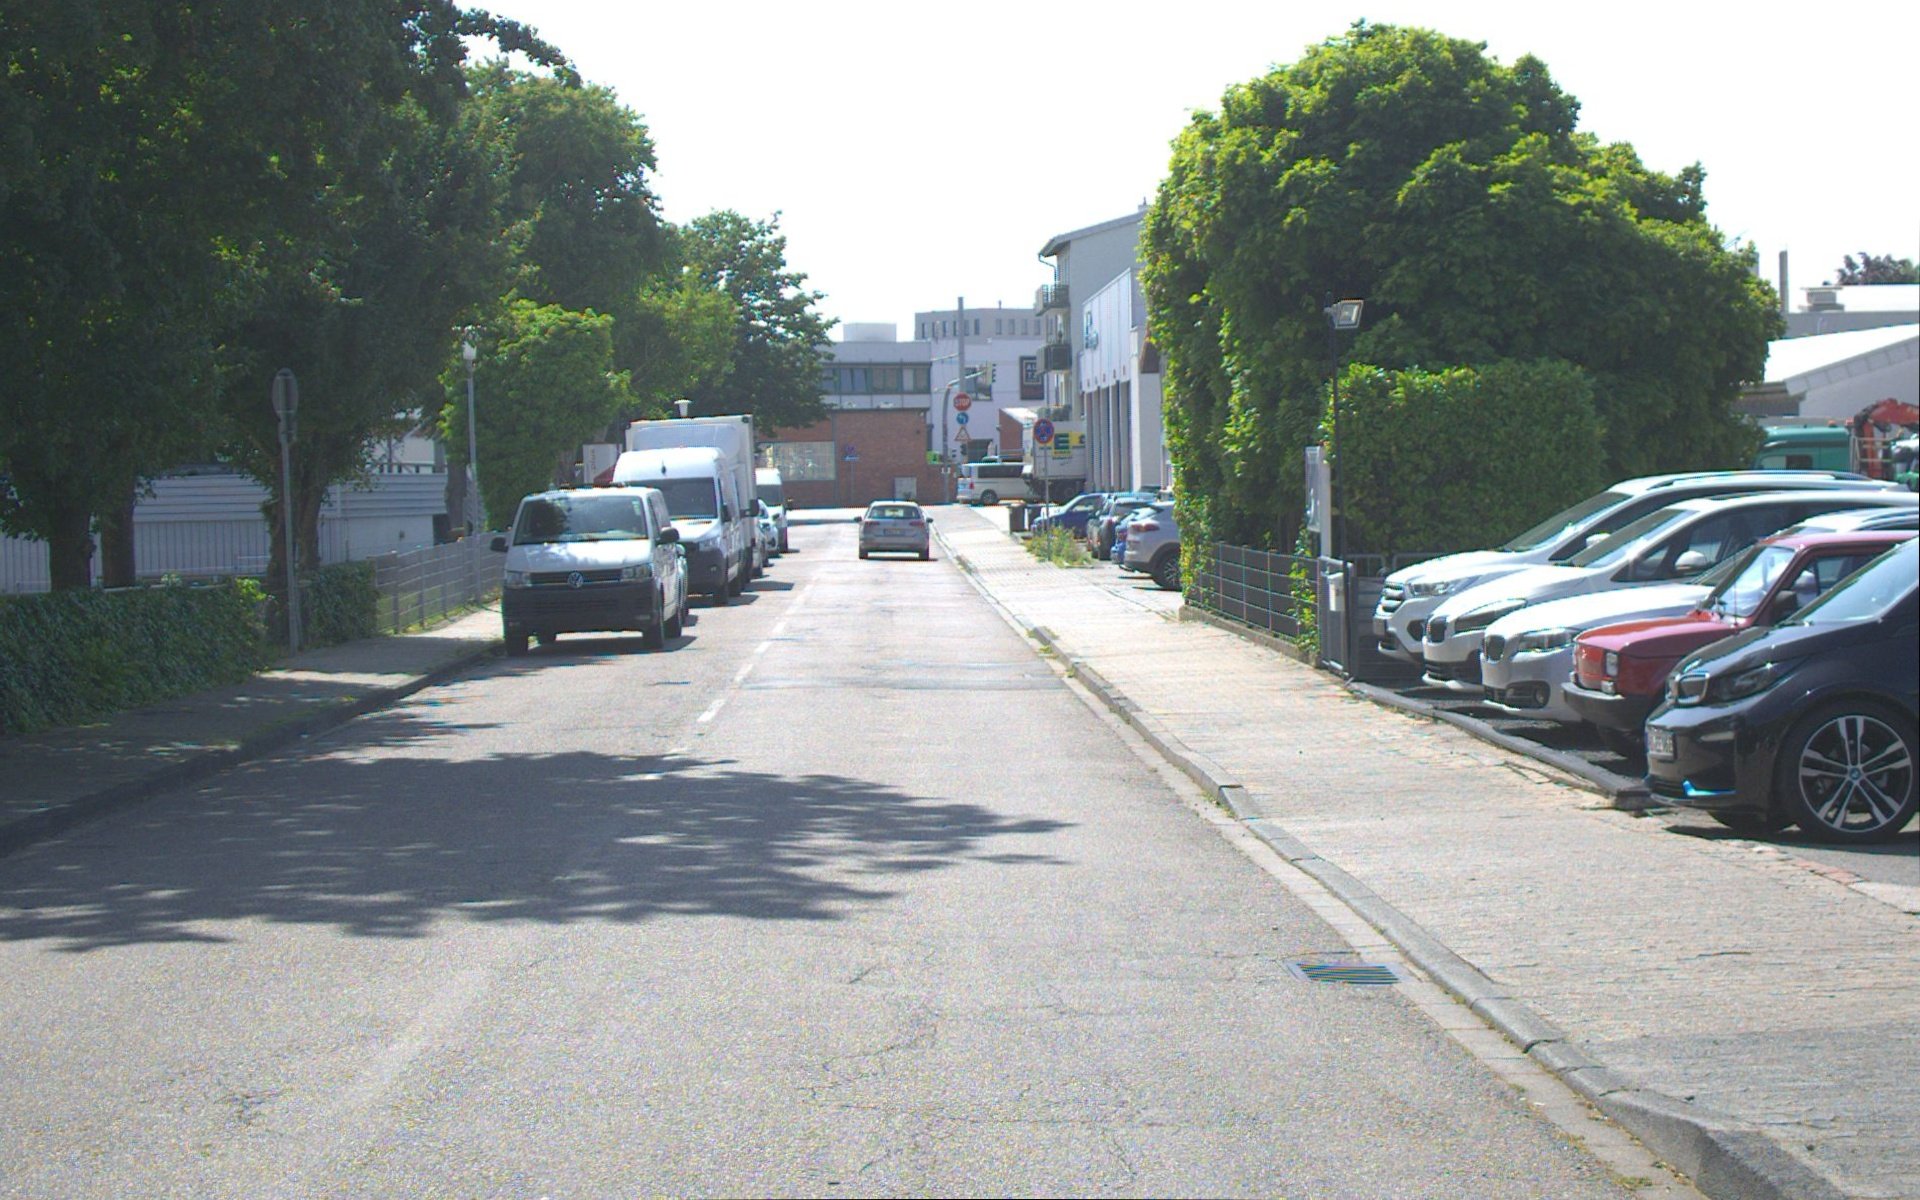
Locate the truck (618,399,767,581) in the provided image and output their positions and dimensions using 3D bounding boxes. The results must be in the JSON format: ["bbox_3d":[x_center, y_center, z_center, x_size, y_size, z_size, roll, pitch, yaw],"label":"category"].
[{"bbox_3d":[-5.309,-2.170,68.500,2.685,3.354,7.131,-2,2,-4],"label":"truck"}]

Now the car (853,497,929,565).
[{"bbox_3d":[-1.794,-1.780,88.523,1.890,1.679,3.958,-1,1,-2],"label":"car"}]

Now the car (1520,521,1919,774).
[{"bbox_3d":[5.197,0.224,20.003,3.549,1.330,1.559,-2,1,-2],"label":"car"}]

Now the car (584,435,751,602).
[{"bbox_3d":[-4.902,-1.410,58.626,2.168,2.587,6.921,-3,2,0],"label":"car"}]

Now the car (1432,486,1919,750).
[{"bbox_3d":[5.514,0.046,22.495,4.402,1.492,1.897,-3,1,-6],"label":"car"}]

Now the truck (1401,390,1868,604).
[{"bbox_3d":[11.700,-1.797,60.089,7.517,3.411,2.527,2,2,-1],"label":"truck"}]

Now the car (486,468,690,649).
[{"bbox_3d":[-4.542,-0.557,42.655,1.971,2.006,5.057,-3,2,-1],"label":"car"}]

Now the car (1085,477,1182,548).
[{"bbox_3d":[4.119,-2.128,82.231,1.858,1.562,4.952,-2,2,-2],"label":"car"}]

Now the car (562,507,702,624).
[{"bbox_3d":[-4.705,-0.536,49.833,1.714,1.538,4.402,-3,2,-2],"label":"car"}]

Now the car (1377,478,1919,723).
[{"bbox_3d":[5.468,-0.042,25.167,4.402,1.522,1.897,-3,1,-6],"label":"car"}]

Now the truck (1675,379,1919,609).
[{"bbox_3d":[16.060,-1.762,55.872,8.276,3.598,2.953,-1,2,2],"label":"truck"}]

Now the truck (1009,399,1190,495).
[{"bbox_3d":[6.077,-6.716,150.512,7.357,3.632,2.769,-4,3,-7],"label":"truck"}]

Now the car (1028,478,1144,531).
[{"bbox_3d":[3.628,-2.767,99.375,3.253,1.394,1.673,-2,2,-1],"label":"car"}]

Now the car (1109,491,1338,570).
[{"bbox_3d":[5.250,-1.407,68.859,4.352,1.436,1.892,-2,2,-2],"label":"car"}]

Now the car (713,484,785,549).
[{"bbox_3d":[-5.685,-2.271,92.339,1.704,1.618,3.975,-3,2,-6],"label":"car"}]

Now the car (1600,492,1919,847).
[{"bbox_3d":[5.270,0.265,16.989,3.802,1.618,1.760,-2,2,-2],"label":"car"}]

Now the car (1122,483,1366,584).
[{"bbox_3d":[5.152,-1.227,62.735,4.200,1.676,1.767,2,2,-2],"label":"car"}]

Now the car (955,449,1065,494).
[{"bbox_3d":[2.299,-5.957,158.903,4.653,1.951,1.917,-2,3,-20],"label":"car"}]

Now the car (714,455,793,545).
[{"bbox_3d":[-5.836,-2.879,97.496,2.005,2.358,5.231,-4,3,-3],"label":"car"}]

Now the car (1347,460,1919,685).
[{"bbox_3d":[5.466,-0.248,27.600,4.402,1.648,1.844,-1,2,-3],"label":"car"}]
